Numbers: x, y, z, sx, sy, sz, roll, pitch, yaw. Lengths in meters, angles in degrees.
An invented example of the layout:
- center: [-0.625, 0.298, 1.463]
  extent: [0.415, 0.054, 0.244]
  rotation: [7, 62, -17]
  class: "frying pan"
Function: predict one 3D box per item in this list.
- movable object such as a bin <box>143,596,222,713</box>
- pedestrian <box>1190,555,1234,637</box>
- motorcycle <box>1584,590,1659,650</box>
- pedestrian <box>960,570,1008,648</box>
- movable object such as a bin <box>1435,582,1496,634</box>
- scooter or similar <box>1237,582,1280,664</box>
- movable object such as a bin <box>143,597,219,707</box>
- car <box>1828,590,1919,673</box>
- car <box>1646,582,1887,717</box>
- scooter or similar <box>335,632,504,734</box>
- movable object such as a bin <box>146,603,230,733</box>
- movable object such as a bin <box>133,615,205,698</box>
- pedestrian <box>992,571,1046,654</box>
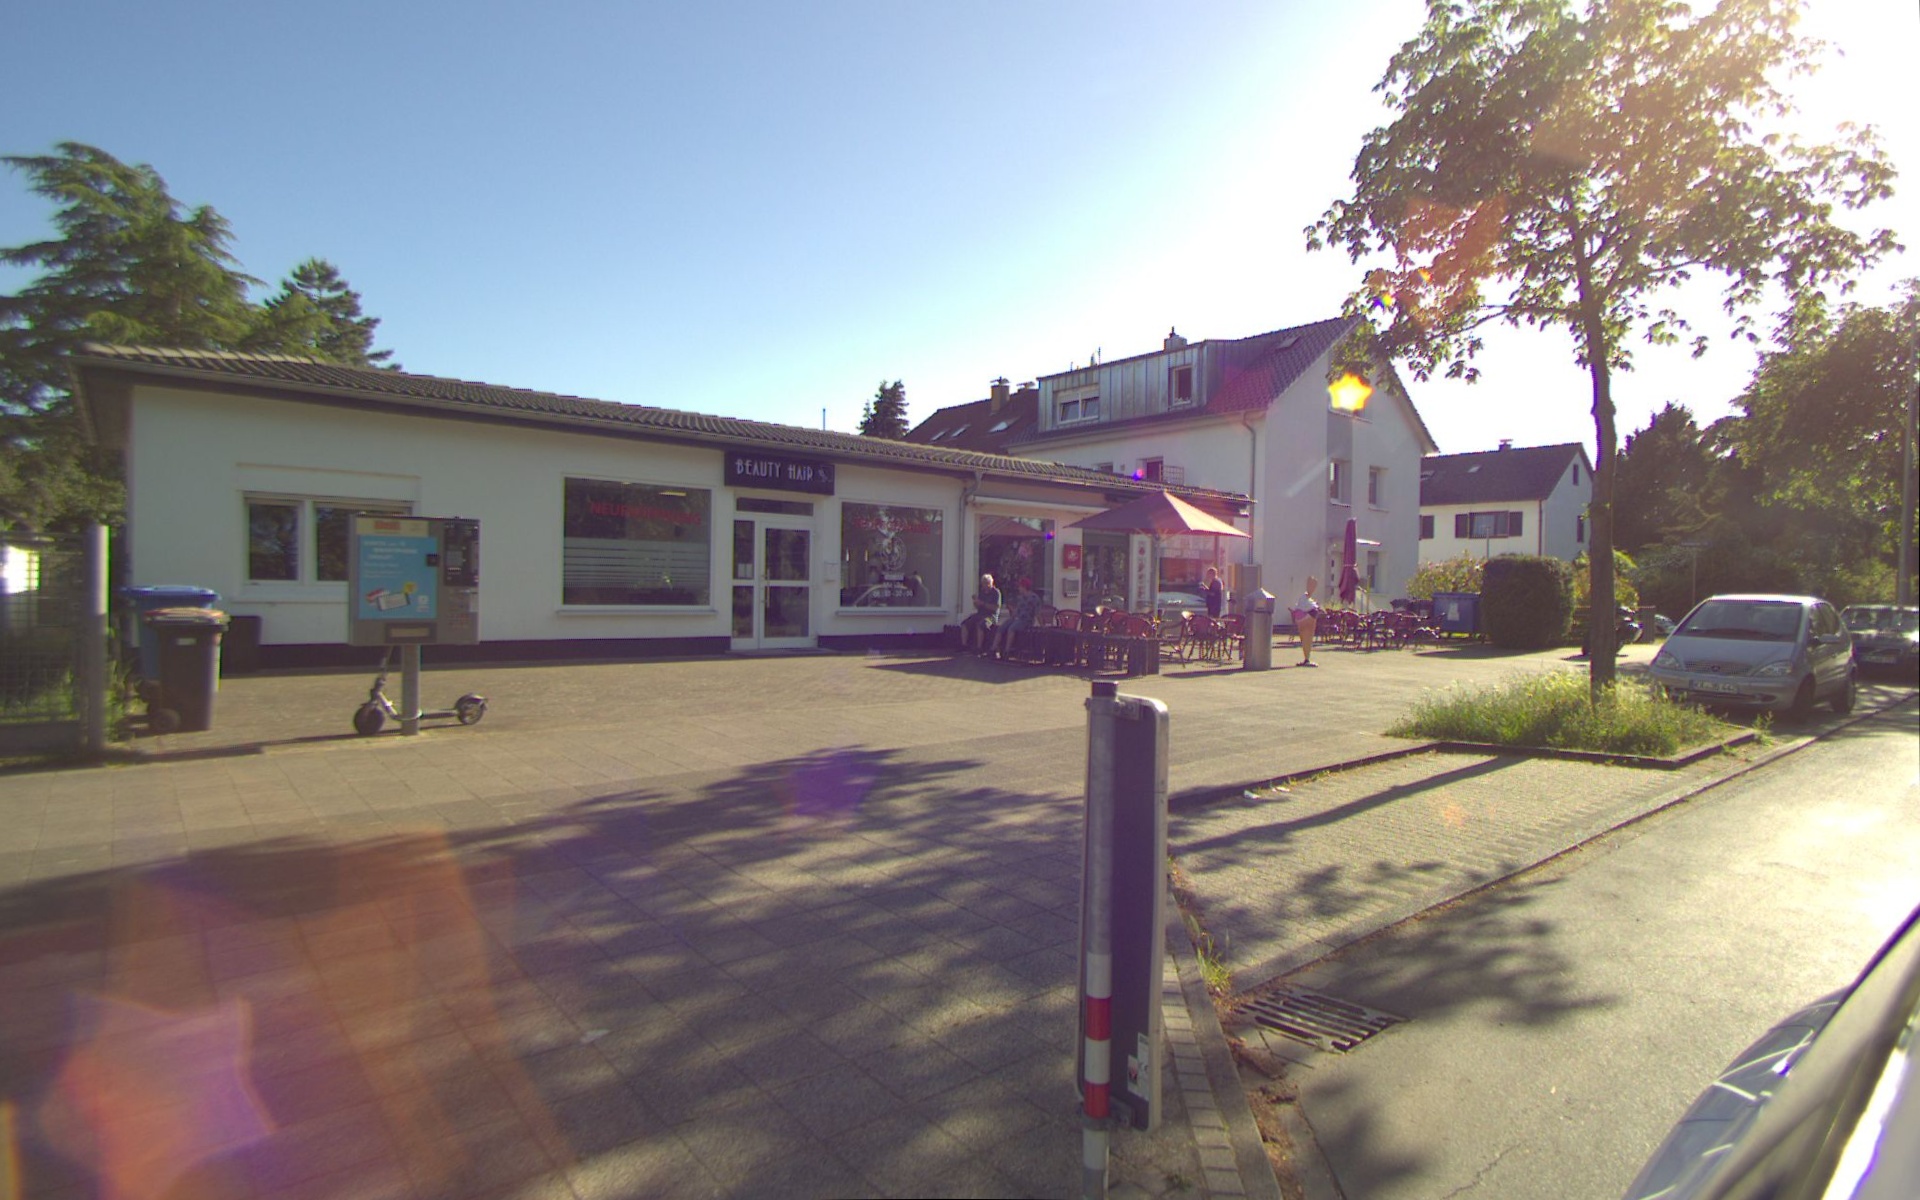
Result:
- center: [-6.708, 0.453, 8.730]
  extent: [0.517, 0.941, 0.459]
  rotation: [-1, 3, -41]
  class: "movable object such as a bin"
- center: [5.715, -0.088, 22.964]
  extent: [0.722, 1.831, 0.672]
  rotation: [-1, 0, -40]
  class: "pedestrian"
- center: [15.054, 0.432, 22.992]
  extent: [2.305, 1.270, 0.837]
  rotation: [-1, 0, -41]
  class: "motorcycle"
- center: [0.421, 0.141, 17.817]
  extent: [0.564, 1.338, 0.641]
  rotation: [-1, 2, -40]
  class: "pedestrian"
- center: [13.366, 0.196, 26.751]
  extent: [0.912, 1.310, 1.171]
  rotation: [-1, 2, -41]
  class: "movable object such as a bin"
- center: [4.925, 0.366, 16.719]
  extent: [0.454, 1.311, 0.502]
  rotation: [-1, 2, -44]
  class: "scooter or similar"
- center: [-7.094, 0.454, 9.218]
  extent: [0.517, 0.941, 0.459]
  rotation: [-1, 3, -41]
  class: "movable object such as a bin"
- center: [18.920, 0.598, 20.311]
  extent: [3.790, 1.500, 1.732]
  rotation: [0, 1, -41]
  class: "car"
- center: [11.240, 0.573, 14.041]
  extent: [3.787, 1.596, 1.733]
  rotation: [0, 2, -38]
  class: "car"
- center: [-4.594, 0.683, 8.634]
  extent: [1.207, 0.725, 0.450]
  rotation: [-1, 5, -41]
  class: "scooter or similar"
- center: [-6.303, 0.534, 8.260]
  extent: [0.517, 0.988, 0.459]
  rotation: [-1, 3, -41]
  class: "movable object such as a bin"
- center: [-7.532, 0.525, 9.638]
  extent: [0.517, 0.727, 0.459]
  rotation: [-1, 3, -41]
  class: "movable object such as a bin"
- center: [0.991, 0.205, 17.116]
  extent: [0.564, 1.338, 0.641]
  rotation: [1, 3, -40]
  class: "pedestrian"
